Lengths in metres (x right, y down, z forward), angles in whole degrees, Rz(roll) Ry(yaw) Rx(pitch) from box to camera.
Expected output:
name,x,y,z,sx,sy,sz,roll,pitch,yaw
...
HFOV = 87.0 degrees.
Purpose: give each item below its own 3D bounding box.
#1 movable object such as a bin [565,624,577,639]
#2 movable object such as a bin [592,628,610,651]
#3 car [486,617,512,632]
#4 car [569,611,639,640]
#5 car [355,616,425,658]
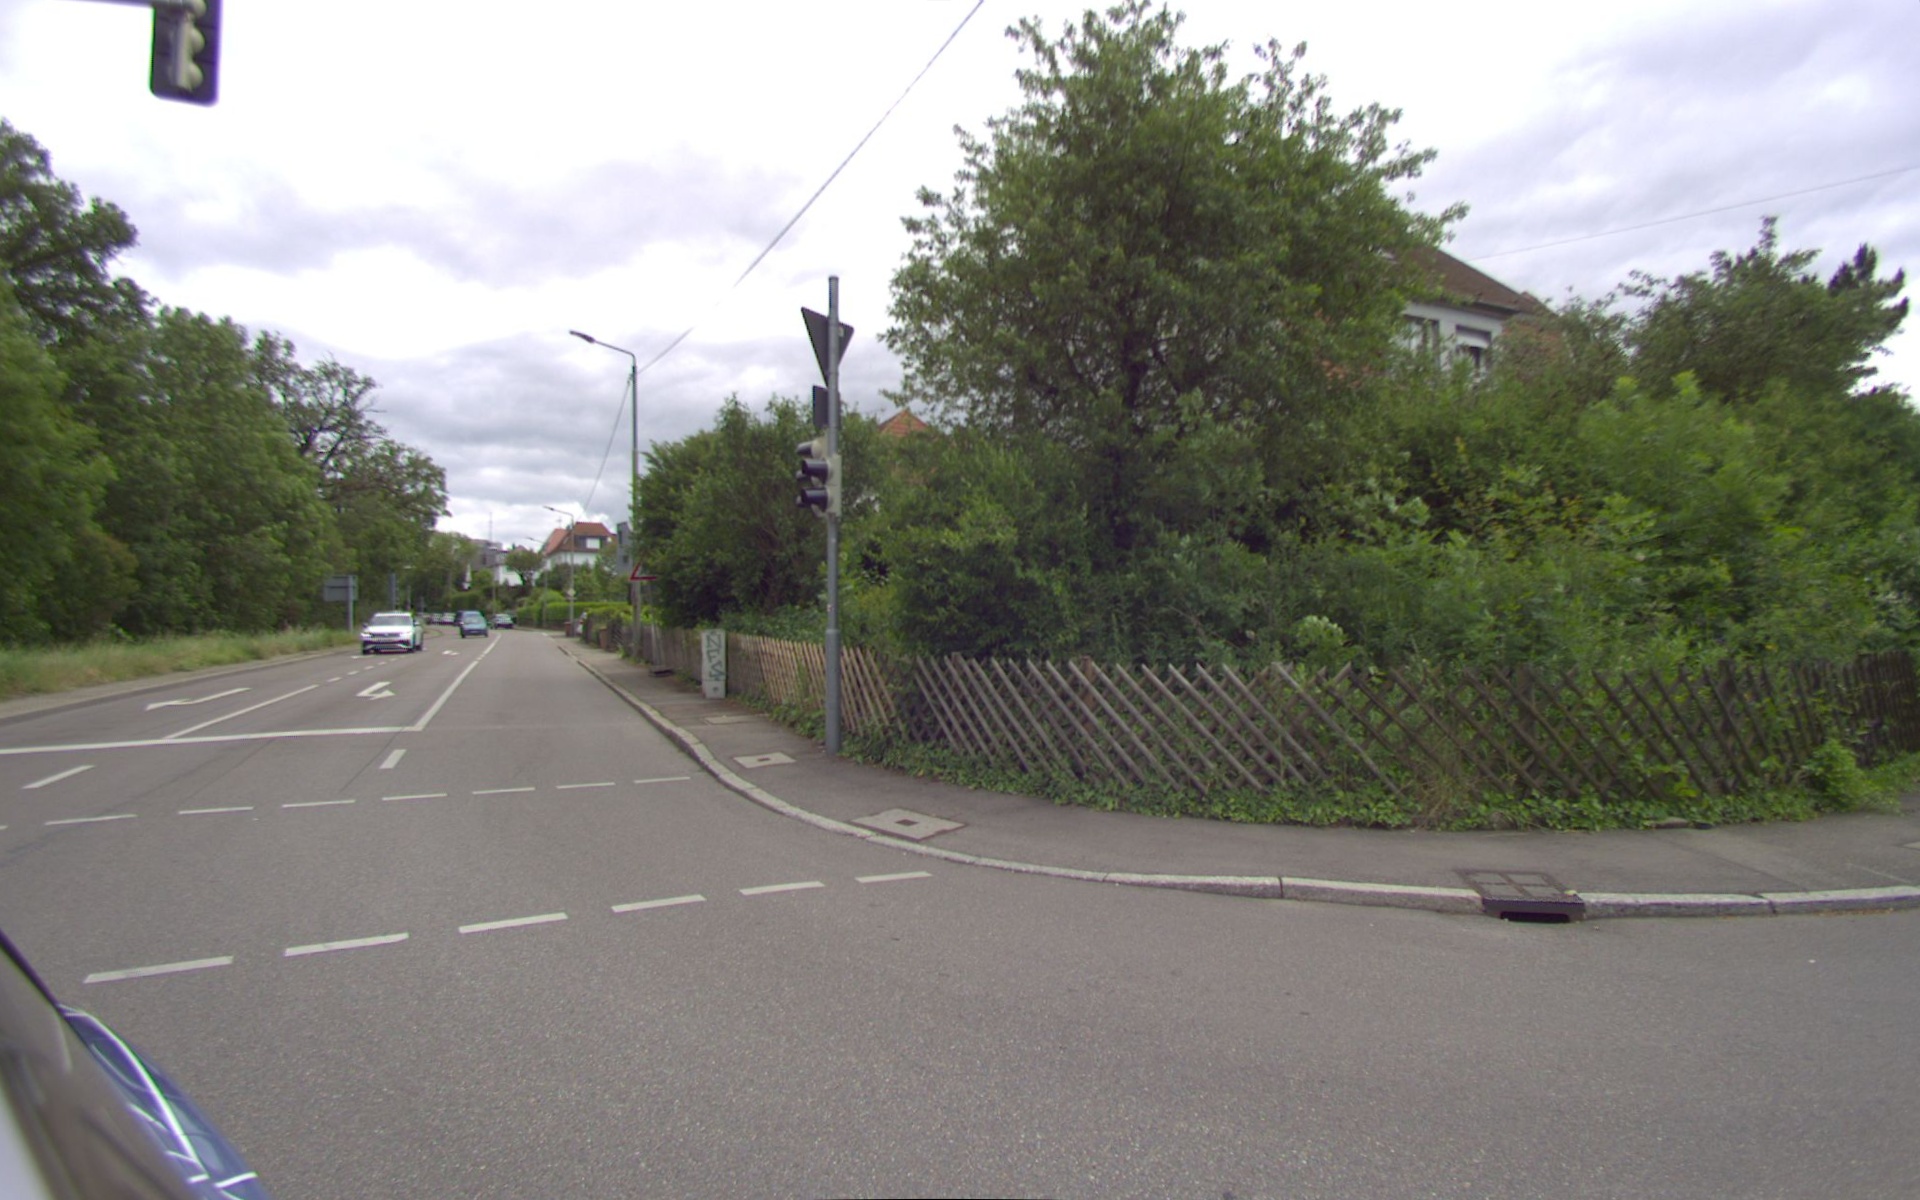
name,x,y,z,sx,sy,sz,roll,pitch,yaw
movable object such as a bin,-25.029,2.014,65.095,0.678,0.961,0.574,0,-1,-25
movable object such as a bin,-14.943,1.636,42.137,0.624,0.920,0.562,-2,-1,-14
car,-46.468,2.443,101.967,1.809,1.535,4.011,0,-1,-33
car,-22.216,1.573,63.203,3.931,1.606,1.724,-2,0,-24
car,-23.174,1.452,41.267,1.965,1.586,4.013,0,-1,-22
